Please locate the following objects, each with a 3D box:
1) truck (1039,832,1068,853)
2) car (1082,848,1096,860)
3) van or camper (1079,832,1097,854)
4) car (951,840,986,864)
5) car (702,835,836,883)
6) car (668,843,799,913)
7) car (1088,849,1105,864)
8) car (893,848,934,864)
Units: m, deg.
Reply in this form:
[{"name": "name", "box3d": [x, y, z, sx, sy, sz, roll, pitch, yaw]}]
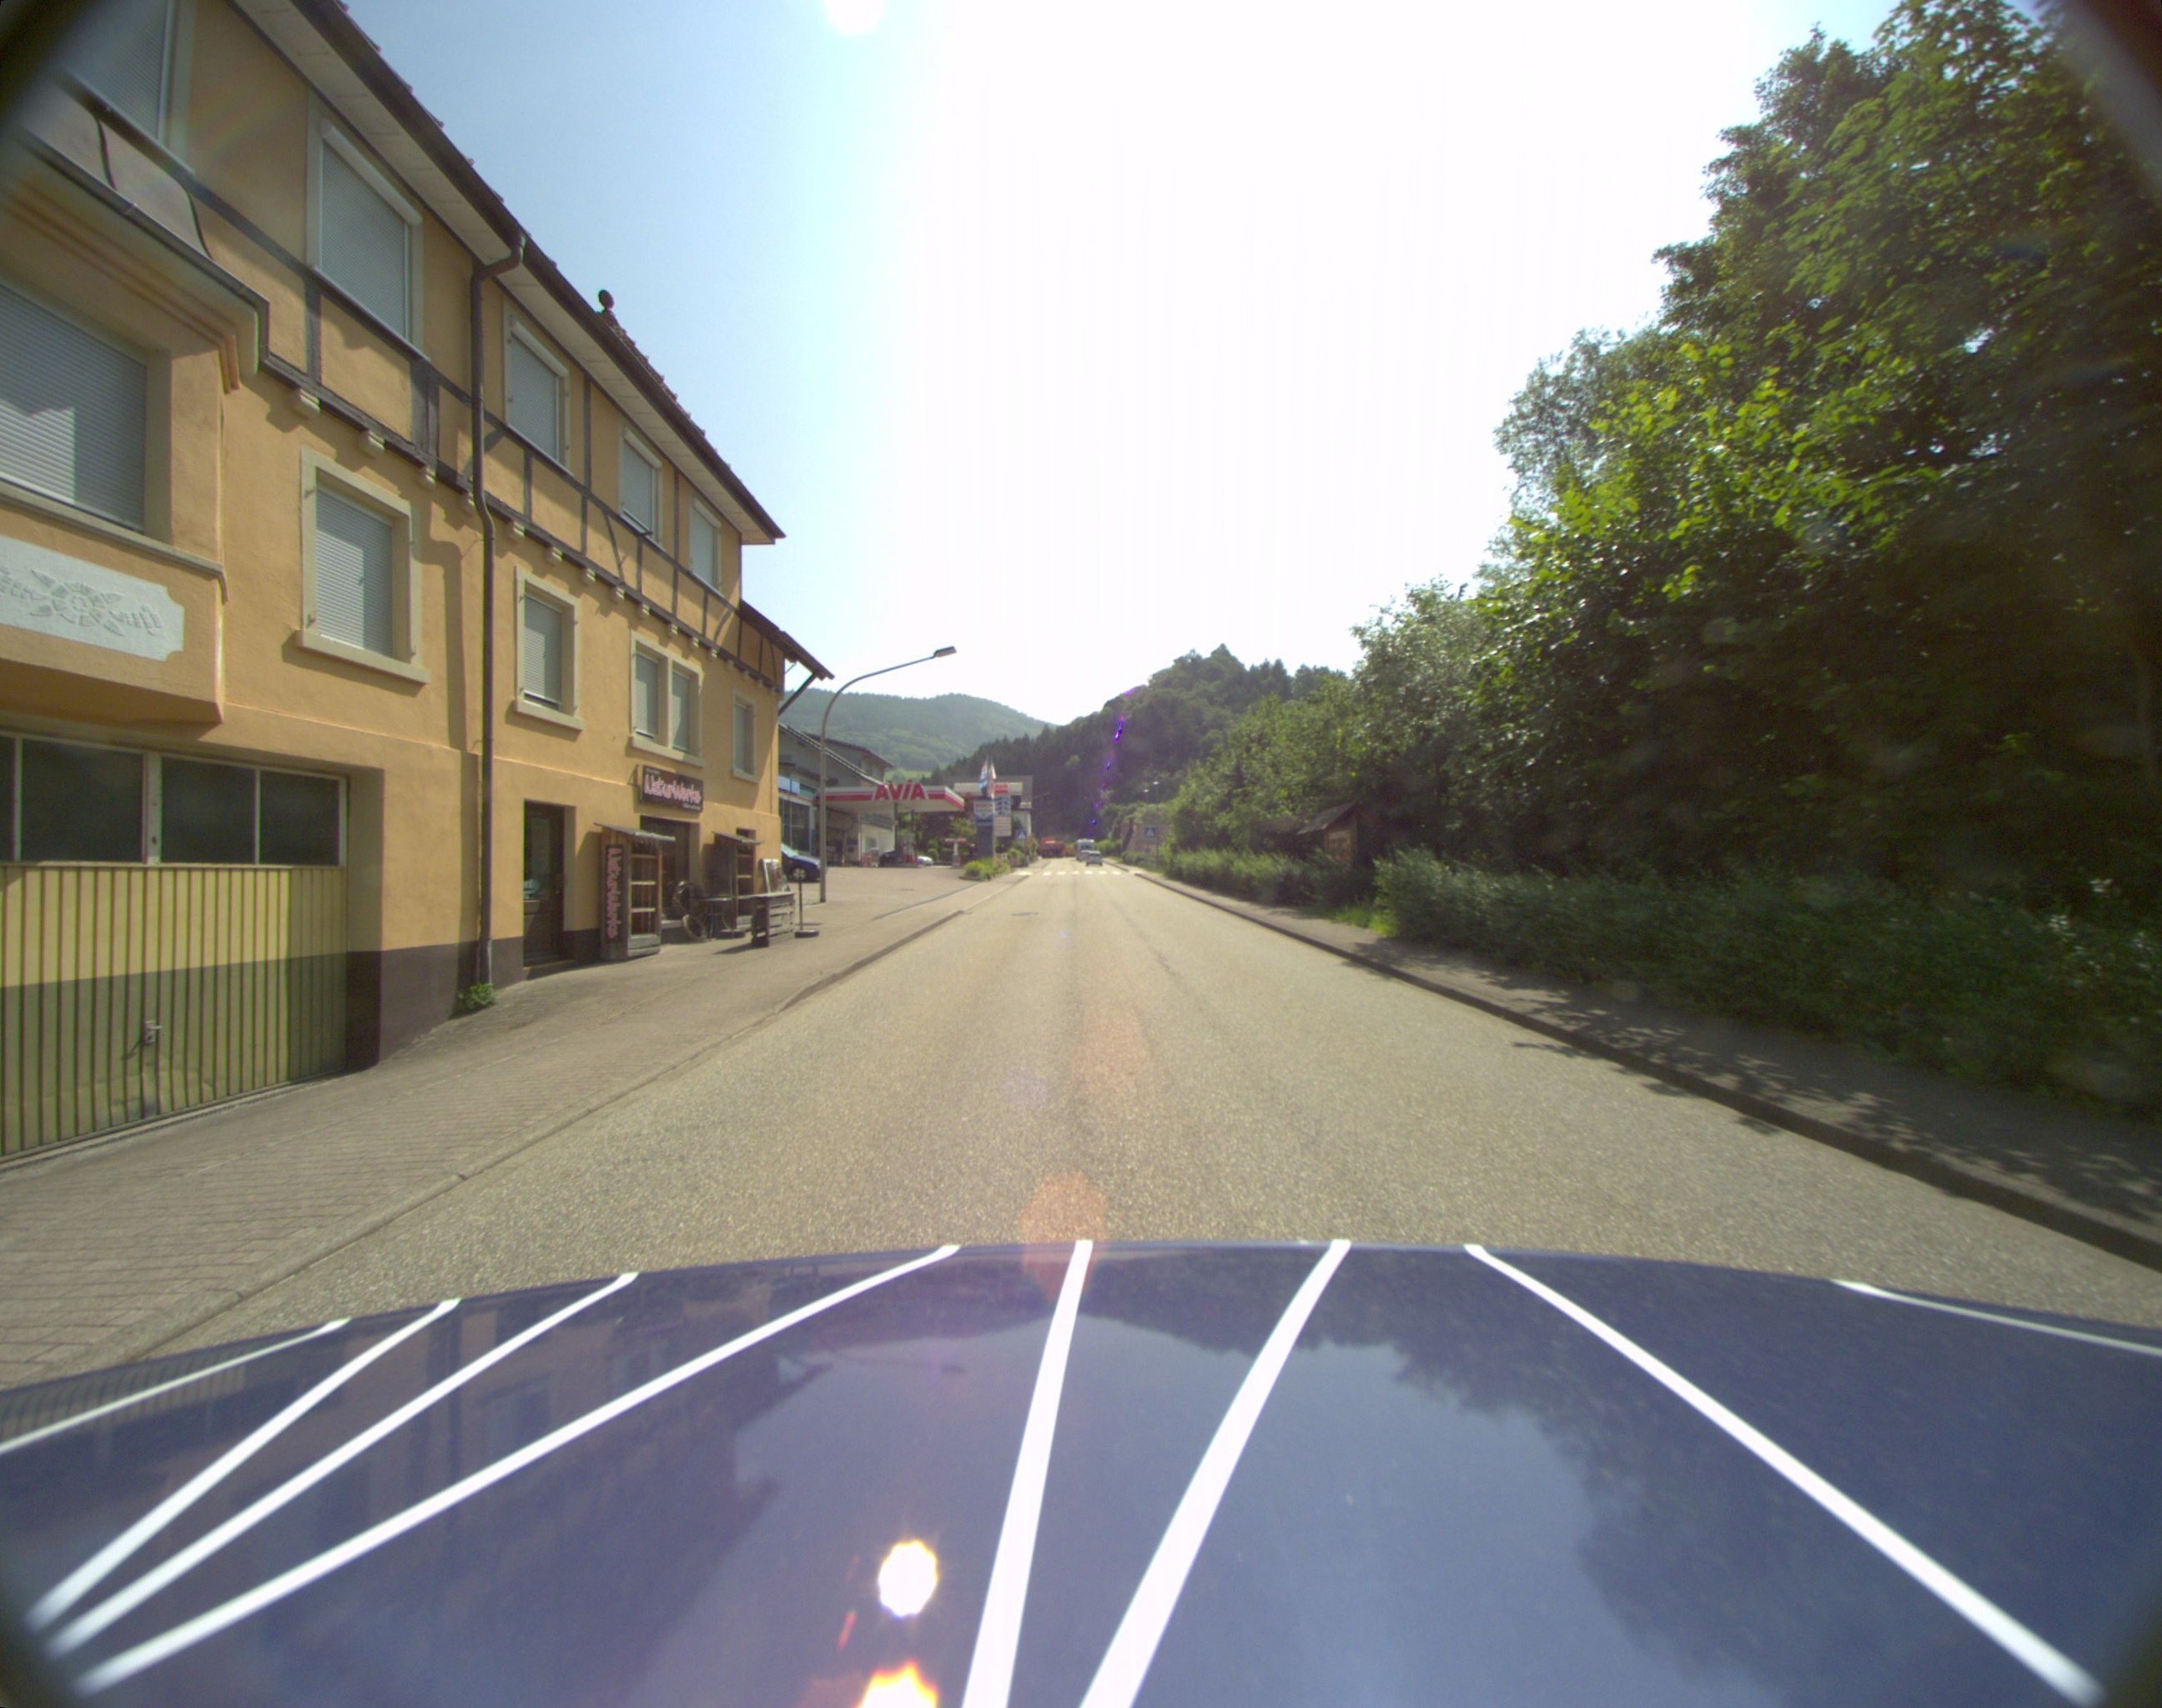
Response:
[{"name": "truck", "box3d": [-4.903, -2.139, 134.377, 2.655, 3.561, 8.177, 1, 1, -20]}, {"name": "car", "box3d": [0.973, 0.030, 96.081, 1.609, 1.398, 3.826, 2, 1, -1]}, {"name": "van or camper", "box3d": [0.997, -1.468, 107.594, 2.364, 2.936, 8.050, 1, 0, 0]}, {"name": "car", "box3d": [-7.765, -0.169, 52.567, 1.696, 1.568, 3.910, 3, 1, 1]}, {"name": "car", "box3d": [-11.717, 0.161, 28.787, 4.332, 1.536, 1.798, 3, 1, -10]}, {"name": "car", "box3d": [-8.961, 0.586, 19.745, 2.661, 1.527, 1.424, 5, 2, -4]}, {"name": "car", "box3d": [1.598, 0.263, 77.968, 1.594, 1.474, 3.757, 1, 0, 1]}, {"name": "car", "box3d": [-13.742, 0.164, 62.445, 3.081, 1.138, 1.334, 3, 1, -2]}]
